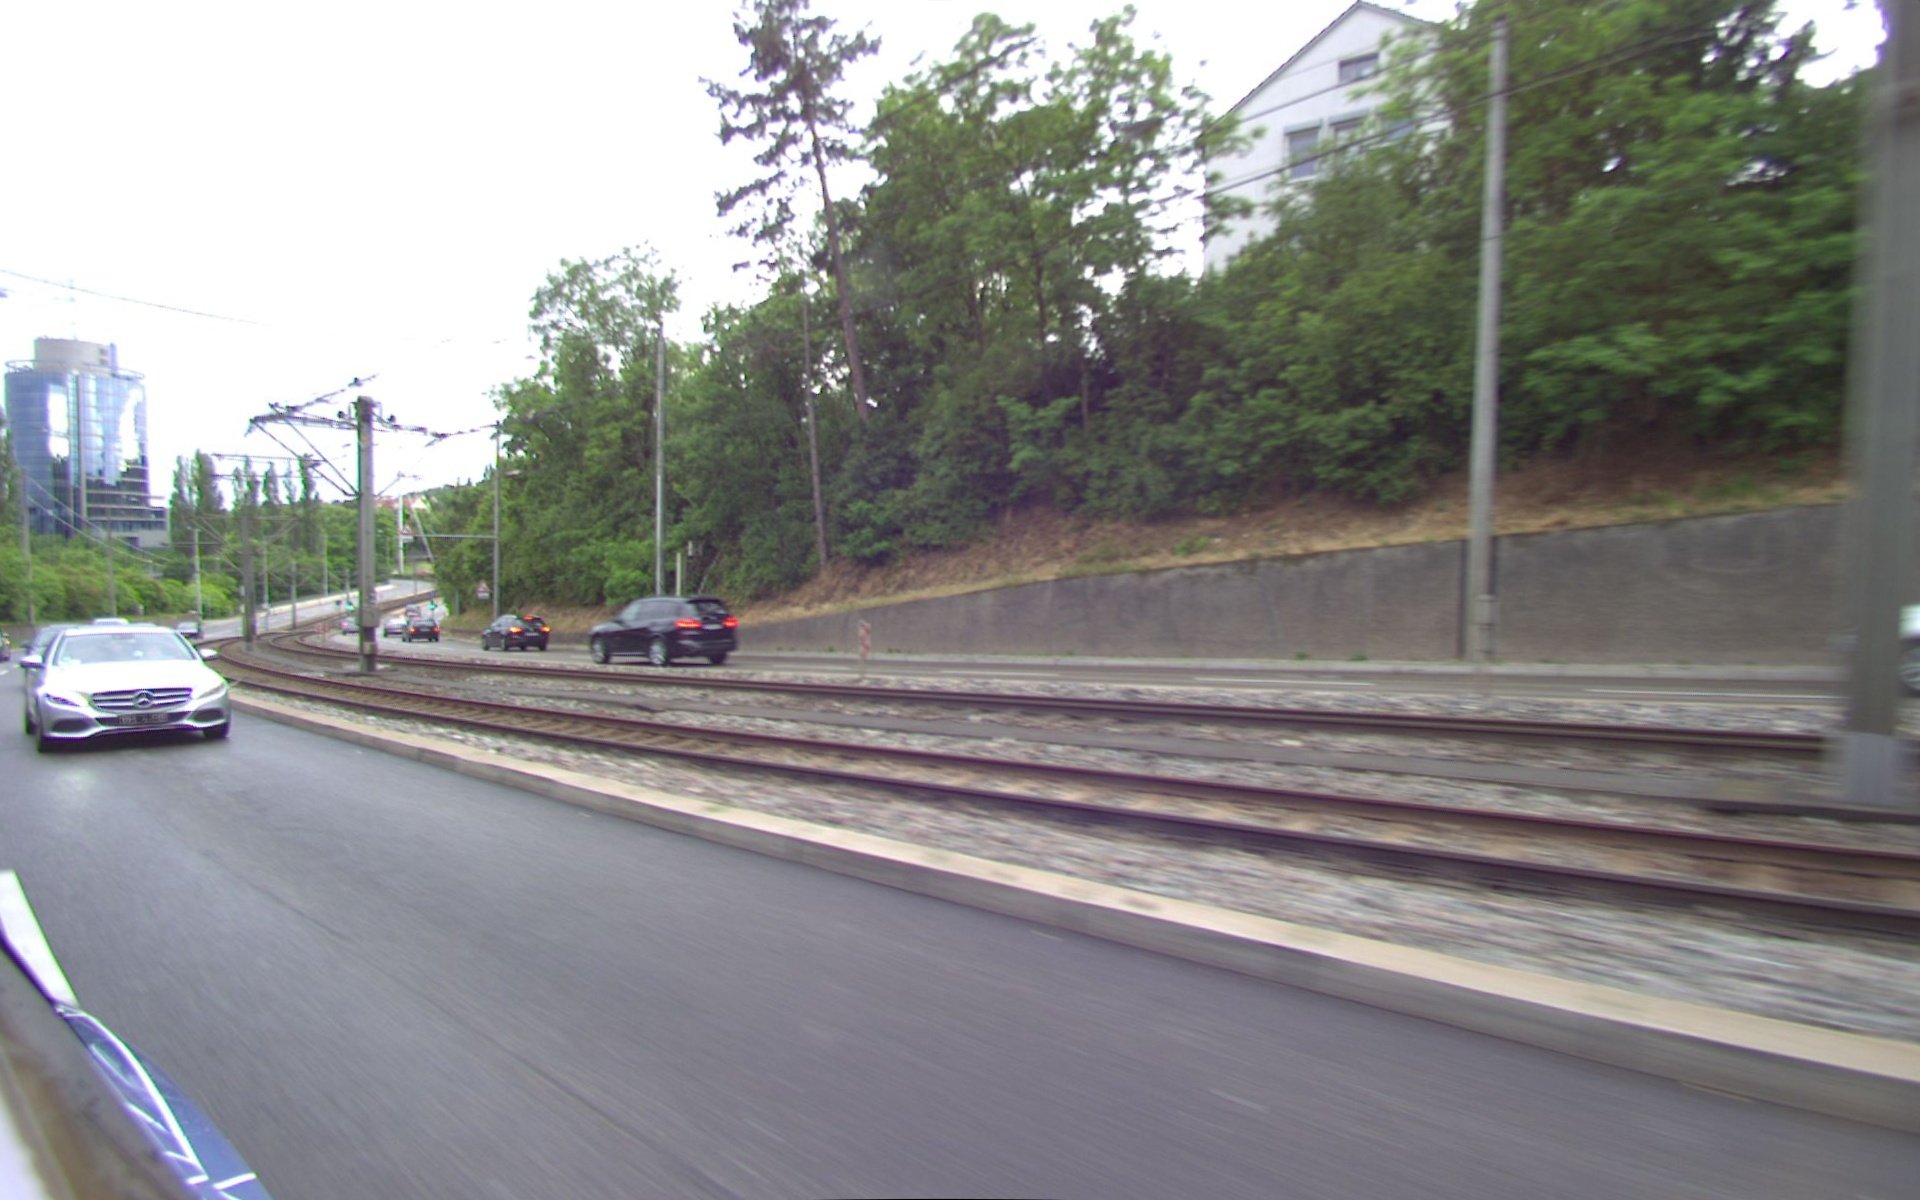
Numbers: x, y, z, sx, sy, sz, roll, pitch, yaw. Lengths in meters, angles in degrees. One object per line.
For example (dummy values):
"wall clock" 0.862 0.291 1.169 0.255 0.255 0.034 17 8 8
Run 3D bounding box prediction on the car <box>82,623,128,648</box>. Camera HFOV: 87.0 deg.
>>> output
"car" -63.571 2.623 75.313 1.780 1.521 4.013 -3 3 -29

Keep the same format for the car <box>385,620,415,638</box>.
"car" -44.383 2.308 80.245 1.776 1.434 4.477 0 -2 -25

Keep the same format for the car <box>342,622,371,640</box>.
"car" -52.855 2.724 88.674 1.878 1.469 4.476 0 -1 -27

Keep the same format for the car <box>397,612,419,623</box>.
"car" -77.805 2.424 142.649 2.178 1.469 4.477 -2 0 -21

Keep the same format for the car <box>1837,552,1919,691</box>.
"car" 13.626 0.222 12.177 4.398 1.696 1.918 -2 -1 35

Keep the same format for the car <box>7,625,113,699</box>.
"car" -20.971 1.380 23.618 1.704 1.482 3.892 -2 0 -42

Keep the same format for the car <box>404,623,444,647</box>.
"car" -32.715 2.108 61.738 1.867 1.392 4.465 0 -1 -32

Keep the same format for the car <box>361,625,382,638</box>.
"car" -56.872 3.032 97.773 1.640 1.209 4.476 -2 0 -29

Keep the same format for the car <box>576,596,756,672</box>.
"car" -7.980 0.890 27.176 5.134 1.845 2.210 -2 -1 41

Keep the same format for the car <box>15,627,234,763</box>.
"car" -10.845 1.072 13.022 1.835 1.413 4.318 0 -1 -44

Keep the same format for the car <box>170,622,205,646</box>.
"car" -68.089 2.981 89.277 1.966 2.029 4.507 -1 -1 -31

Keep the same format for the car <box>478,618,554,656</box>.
"car" -18.541 1.535 42.140 1.801 1.482 4.421 1 -2 -39
